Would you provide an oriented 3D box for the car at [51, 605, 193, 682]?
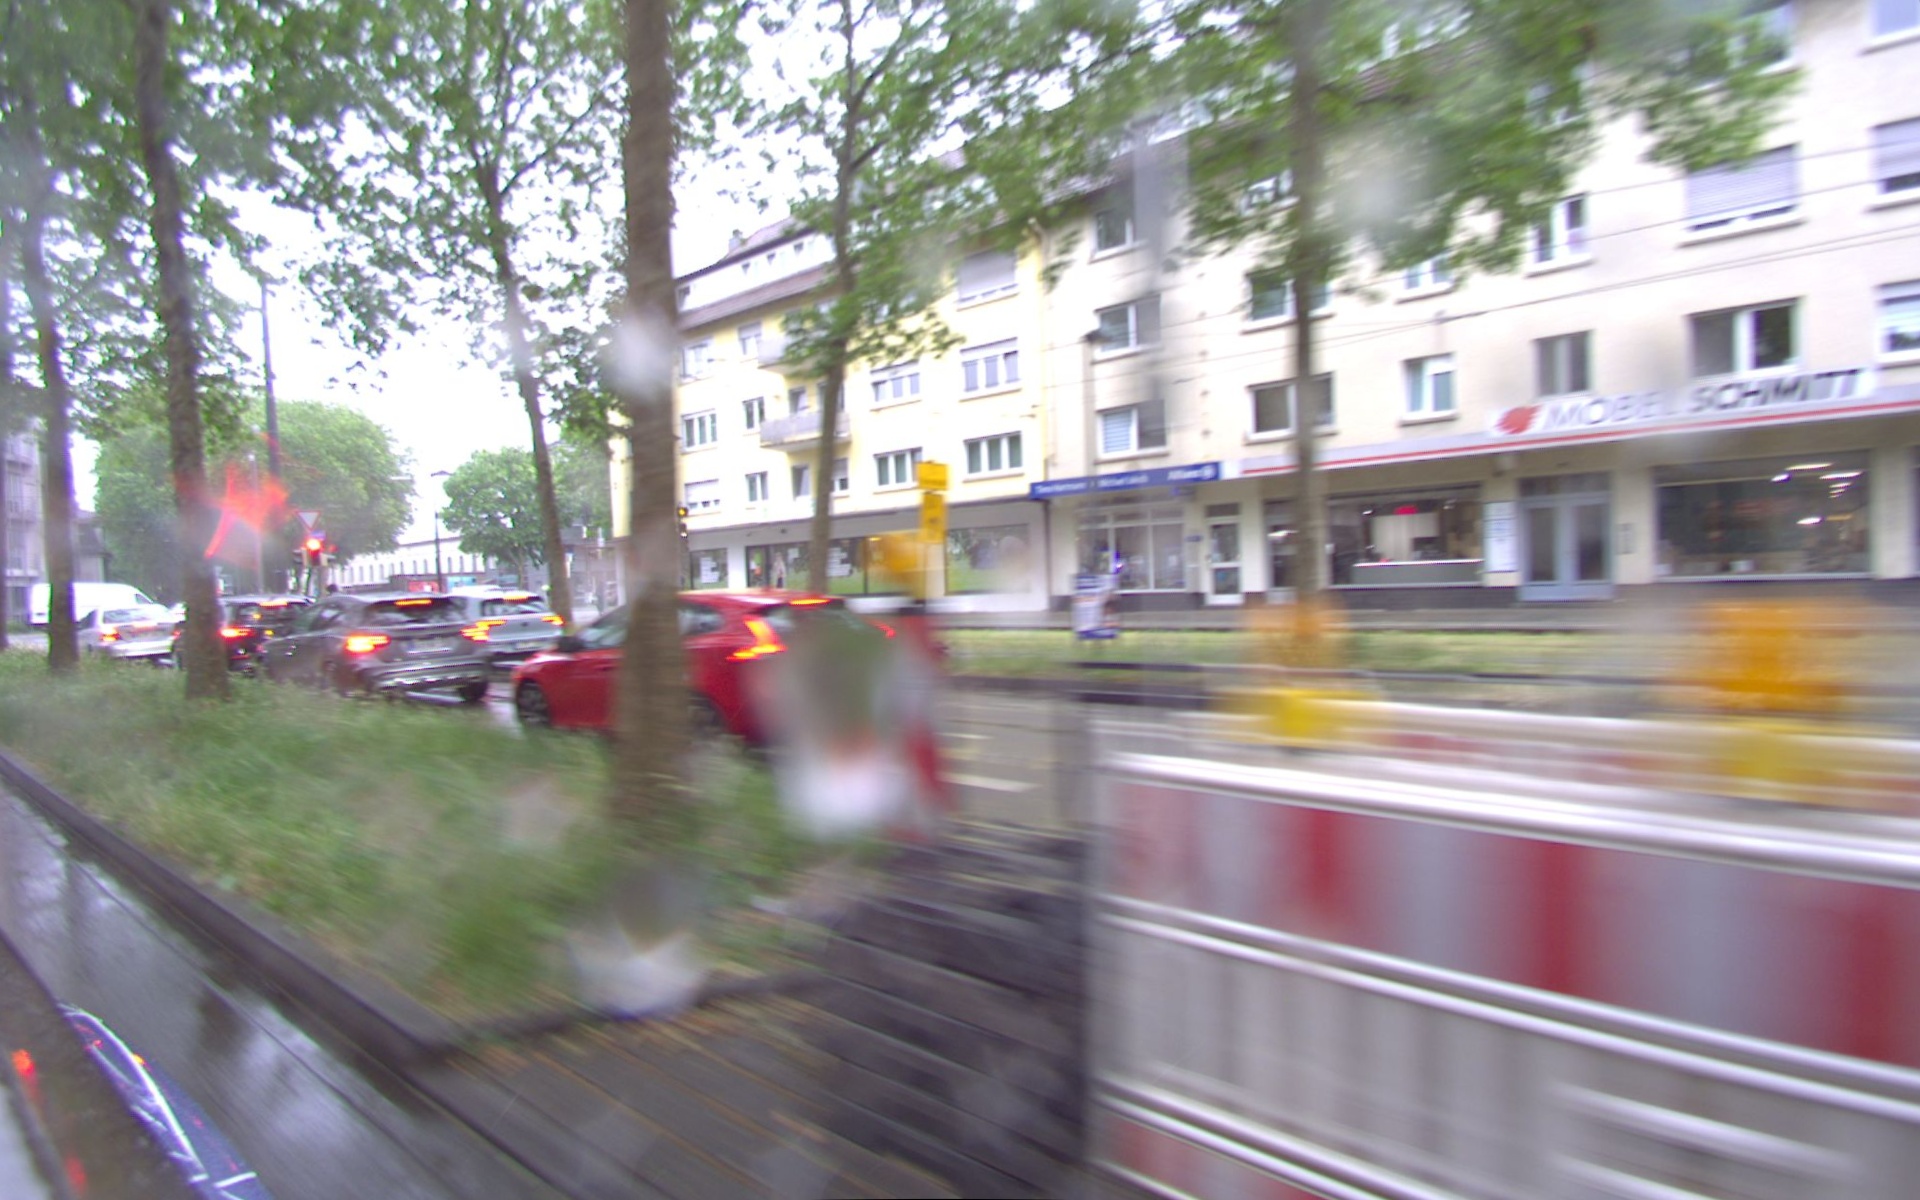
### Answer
[{"bbox_3d":[-19.171,0.950,23.089,4.497,1.500,1.717,-2,1,41],"label":"car"}]

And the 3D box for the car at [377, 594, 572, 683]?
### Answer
[{"bbox_3d":[-9.051,0.675,18.721,4.128,1.408,1.723,-2,1,41],"label":"car"}]

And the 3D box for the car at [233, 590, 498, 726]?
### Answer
[{"bbox_3d":[-8.152,0.700,13.705,4.429,1.491,1.723,-2,1,41],"label":"car"}]

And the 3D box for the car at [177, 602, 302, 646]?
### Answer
[{"bbox_3d":[-33.021,1.072,46.488,1.971,1.754,4.221,0,2,32],"label":"car"}]

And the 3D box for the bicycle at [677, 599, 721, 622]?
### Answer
[{"bbox_3d":[-10.335,0.416,40.046,2.045,0.903,0.605,-1,1,42],"label":"bicycle"}]

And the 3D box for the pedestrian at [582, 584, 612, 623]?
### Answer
[{"bbox_3d":[-16.026,0.156,44.715,1.000,1.690,0.816,-2,1,-37],"label":"pedestrian"}]

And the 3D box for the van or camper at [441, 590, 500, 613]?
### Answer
[{"bbox_3d":[-46.049,0.120,95.266,4.582,2.091,2.003,-1,1,-40],"label":"van or camper"}]

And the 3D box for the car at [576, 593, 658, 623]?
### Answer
[{"bbox_3d":[-21.424,0.474,63.414,1.910,1.659,4.625,0,2,35],"label":"car"}]

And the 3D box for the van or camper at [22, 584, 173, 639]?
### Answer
[{"bbox_3d":[-43.128,0.509,50.865,2.155,2.489,5.962,-1,1,5],"label":"van or camper"}]

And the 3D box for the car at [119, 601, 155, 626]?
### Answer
[{"bbox_3d":[-63.932,1.033,78.642,1.972,1.785,4.009,-2,1,-37],"label":"car"}]

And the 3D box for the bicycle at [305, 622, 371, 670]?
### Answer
[{"bbox_3d":[-14.731,1.073,23.960,1.813,1.039,0.711,0,2,38],"label":"bicycle"}]

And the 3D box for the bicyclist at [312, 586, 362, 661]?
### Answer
[{"bbox_3d":[-14.729,0.539,23.937,0.888,1.729,0.705,0,2,37],"label":"bicyclist"}]

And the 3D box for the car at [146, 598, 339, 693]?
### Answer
[{"bbox_3d":[-13.438,0.792,18.839,4.637,1.496,1.838,-2,1,41],"label":"car"}]

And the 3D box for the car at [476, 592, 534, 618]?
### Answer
[{"bbox_3d":[-40.220,0.411,89.529,4.324,2.028,2.073,-2,2,-33],"label":"car"}]

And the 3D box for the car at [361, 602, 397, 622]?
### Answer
[{"bbox_3d":[-48.961,0.972,85.370,1.781,1.548,4.204,-2,1,-18],"label":"car"}]

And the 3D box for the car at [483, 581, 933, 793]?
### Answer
[{"bbox_3d":[-2.401,0.630,9.005,4.230,1.408,1.724,-2,1,41],"label":"car"}]
